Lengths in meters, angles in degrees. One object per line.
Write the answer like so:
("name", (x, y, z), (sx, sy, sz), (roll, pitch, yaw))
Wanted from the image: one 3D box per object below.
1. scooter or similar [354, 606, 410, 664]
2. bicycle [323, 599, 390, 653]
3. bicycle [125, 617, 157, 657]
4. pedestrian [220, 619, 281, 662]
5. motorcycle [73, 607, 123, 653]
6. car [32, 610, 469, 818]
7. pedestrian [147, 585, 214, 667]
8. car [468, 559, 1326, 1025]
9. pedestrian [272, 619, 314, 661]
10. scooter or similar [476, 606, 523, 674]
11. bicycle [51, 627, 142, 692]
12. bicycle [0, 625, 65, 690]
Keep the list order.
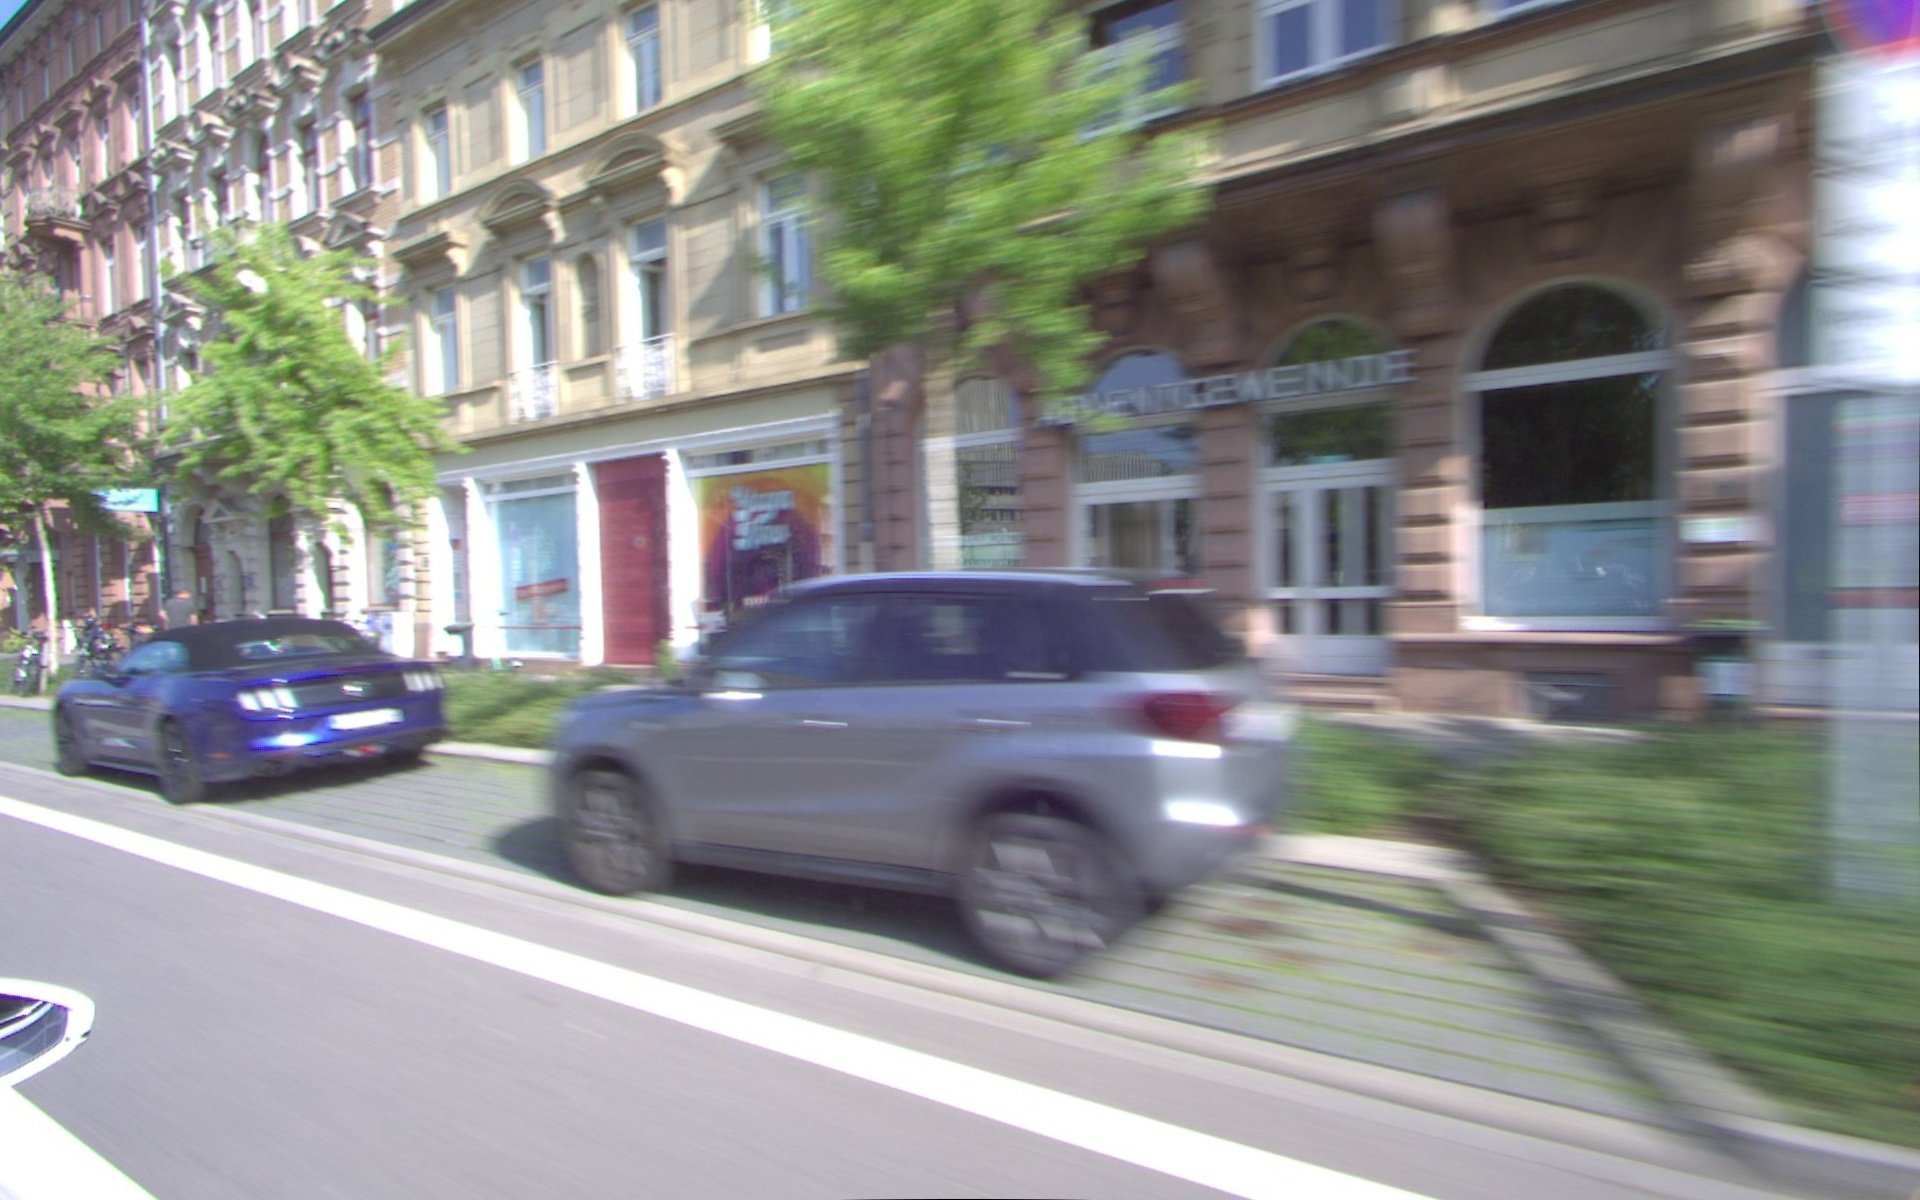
("scooter or similar", (-11.595, 0.691, 20.089), (0.918, 1.140, 0.605), (0, 1, 33))
("bicycle", (-12.575, 0.545, 20.865), (1.424, 1.098, 0.451), (-1, 1, 24))
("bicycle", (-21.807, 0.971, 26.649), (1.240, 1.032, 0.395), (-1, 1, 39))
("pedestrian", (-16.000, 0.895, 22.583), (0.700, 0.889, 0.875), (0, 3, 30))
("motorcycle", (-23.437, 0.820, 27.204), (1.918, 1.192, 0.462), (-1, 3, 34))
("car", (-6.638, 0.840, 9.188), (4.650, 1.415, 1.731), (-1, 2, 35))
("pedestrian", (-17.031, 0.563, 21.893), (0.781, 1.720, 0.821), (0, 3, 29))
("car", (-0.430, 0.657, 5.242), (4.184, 1.610, 1.766), (-1, 2, 30))
("pedestrian", (-14.520, 0.868, 21.796), (0.450, 0.867, 0.569), (0, 3, 27))
("scooter or similar", (-8.075, 0.684, 17.536), (1.075, 1.149, 0.287), (0, 1, 39))
("bicycle", (-15.717, 1.058, 18.279), (0.447, 1.096, 1.875), (-3, -1, -15))
("bicycle", (-16.852, 1.015, 18.131), (1.801, 1.108, 0.491), (-1, 1, 33))
